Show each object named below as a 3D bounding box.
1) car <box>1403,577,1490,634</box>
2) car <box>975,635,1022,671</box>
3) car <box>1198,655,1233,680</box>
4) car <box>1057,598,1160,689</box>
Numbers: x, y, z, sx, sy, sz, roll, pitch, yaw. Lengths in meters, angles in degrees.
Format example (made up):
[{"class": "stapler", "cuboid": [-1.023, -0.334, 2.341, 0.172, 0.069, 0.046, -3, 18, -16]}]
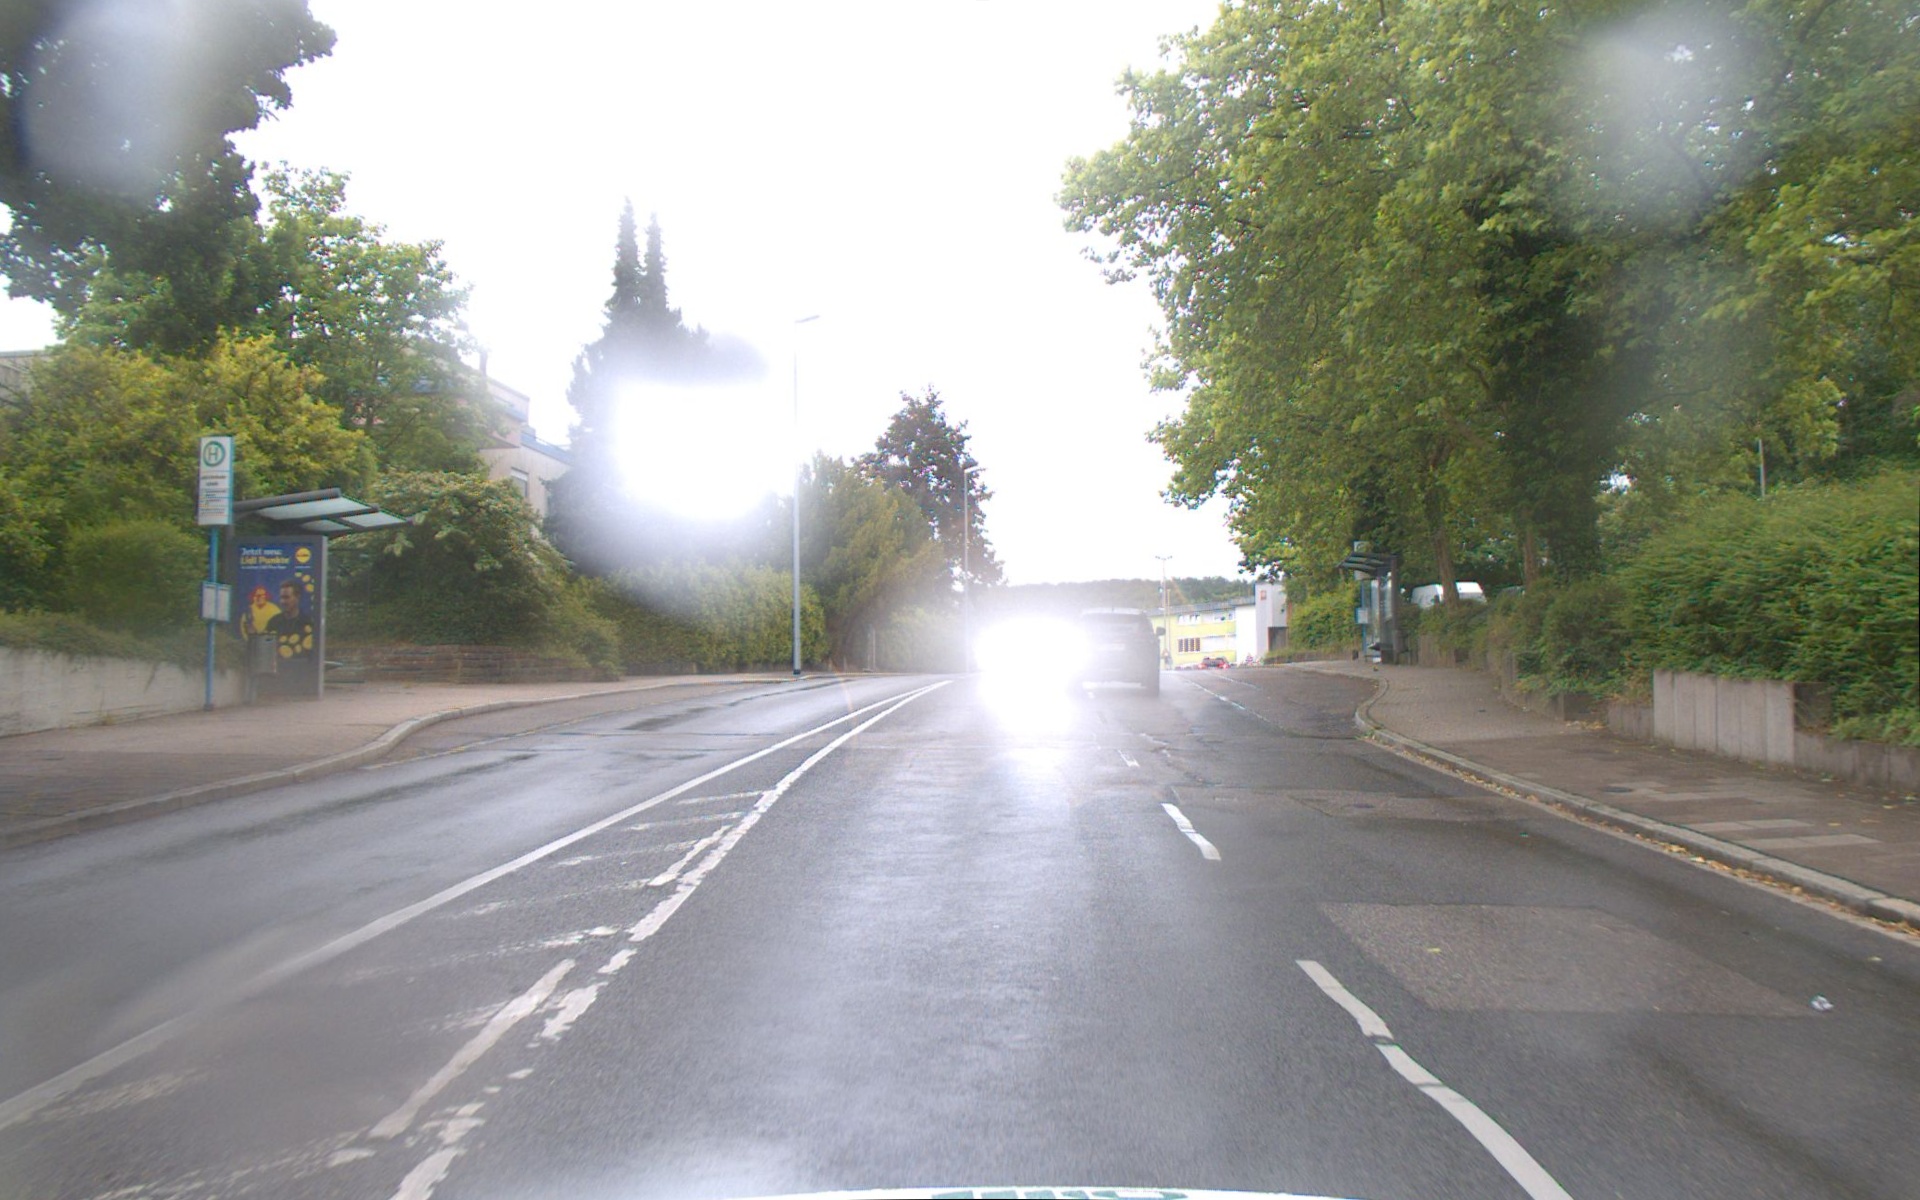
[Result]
[{"class": "car", "cuboid": [20.338, 0.230, 69.354, 2.003, 2.324, 5.015, 0, 0, -2]}, {"class": "car", "cuboid": [1.680, 2.255, 71.265, 1.649, 1.479, 3.400, -1, -1, 7]}, {"class": "car", "cuboid": [15.025, 3.953, 97.391, 1.951, 1.467, 4.002, 0, -2, 8]}, {"class": "car", "cuboid": [2.815, 0.798, 32.116, 1.752, 1.631, 4.254, 1, 0, 2]}]
